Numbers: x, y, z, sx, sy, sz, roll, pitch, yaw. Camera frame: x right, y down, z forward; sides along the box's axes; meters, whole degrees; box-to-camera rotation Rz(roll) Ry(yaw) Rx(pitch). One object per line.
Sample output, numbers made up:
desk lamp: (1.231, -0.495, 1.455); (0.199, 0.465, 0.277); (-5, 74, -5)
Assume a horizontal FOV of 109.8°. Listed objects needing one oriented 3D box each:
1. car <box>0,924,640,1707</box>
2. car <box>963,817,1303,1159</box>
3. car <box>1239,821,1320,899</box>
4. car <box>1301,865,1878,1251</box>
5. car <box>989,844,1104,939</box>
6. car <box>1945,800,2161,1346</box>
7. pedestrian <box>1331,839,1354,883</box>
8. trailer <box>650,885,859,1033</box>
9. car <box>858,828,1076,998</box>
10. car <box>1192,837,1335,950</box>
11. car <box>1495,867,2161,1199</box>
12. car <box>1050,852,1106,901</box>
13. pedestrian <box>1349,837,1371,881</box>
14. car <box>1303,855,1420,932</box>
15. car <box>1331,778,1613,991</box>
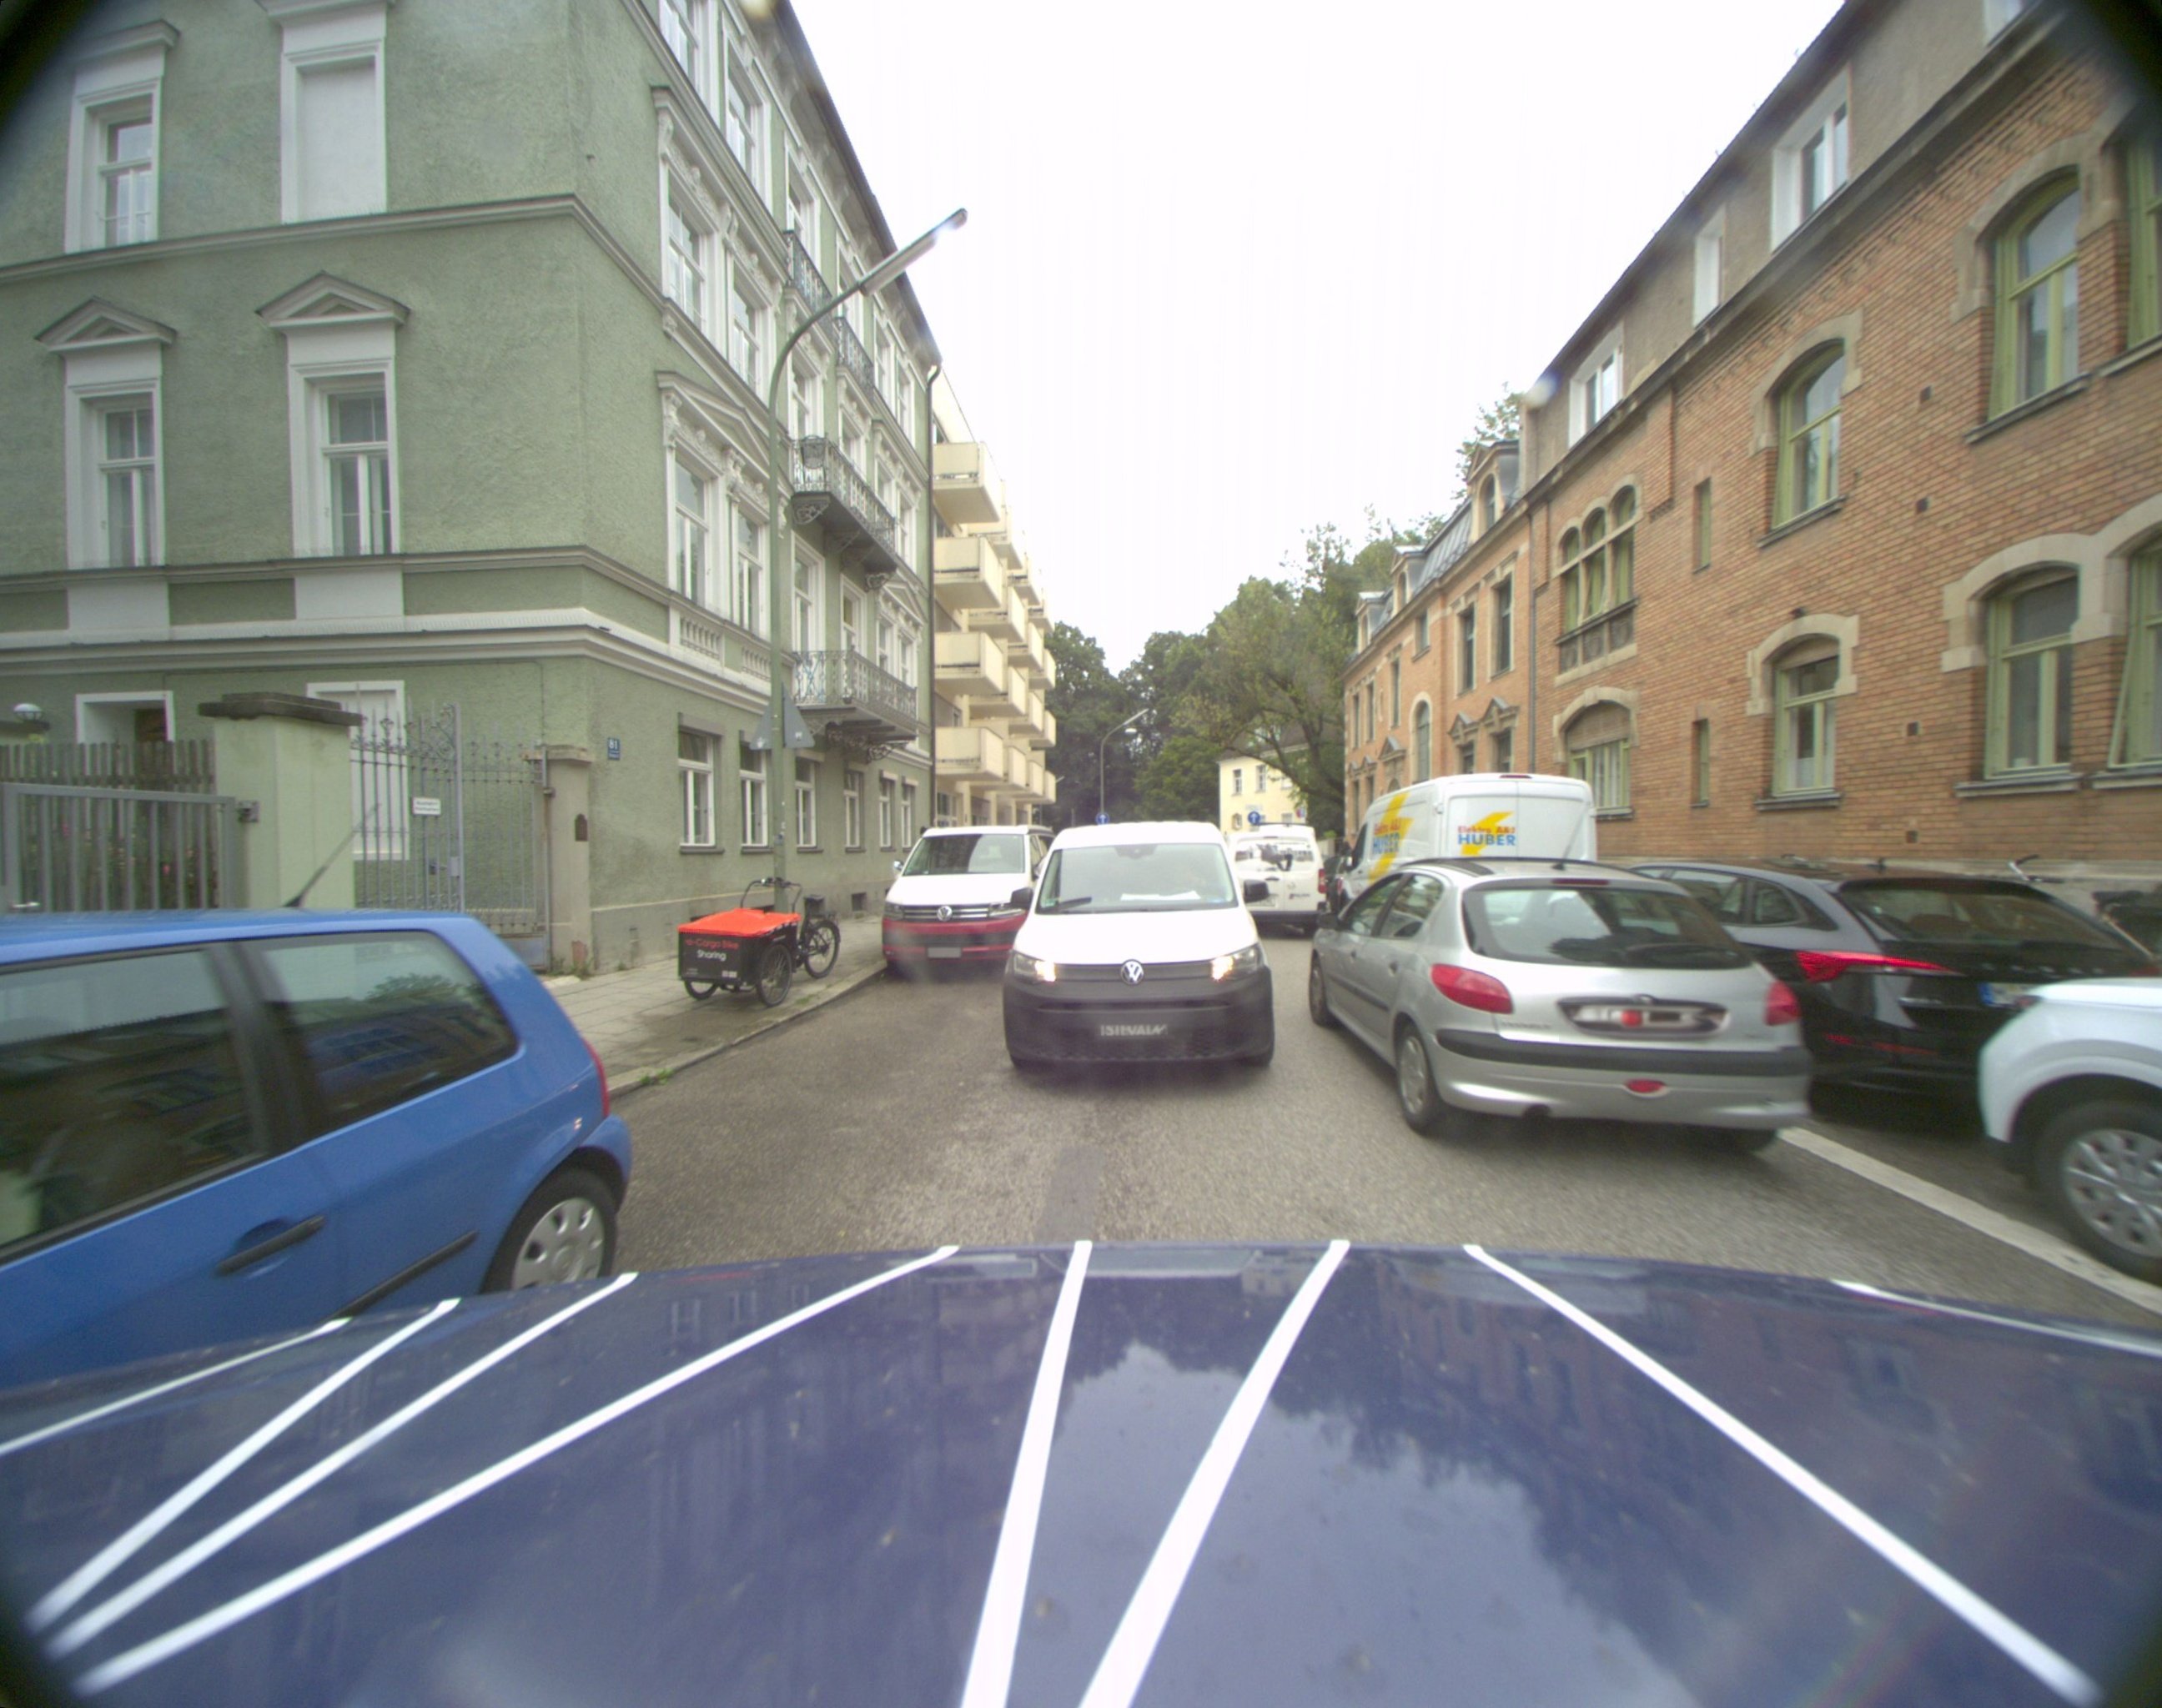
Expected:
car: (-2.524, 1.019, 0.951); (1.622, 1.404, 3.554); (-3, 1, 4)
car: (0.488, 0.670, 5.995); (1.775, 1.761, 4.002); (1, 1, 7)
car: (7.073, 0.181, 27.558); (2.117, 2.525, 4.423); (2, 0, 6)
car: (2.541, 0.838, 4.880); (1.584, 1.403, 3.613); (0, 1, 6)
car: (-0.595, 0.725, 16.839); (1.831, 1.747, 4.555); (-2, 0, 6)
car: (4.296, 0.747, 1.018); (1.693, 1.793, 4.146); (1, 1, 5)
pedestrian: (9.789, 0.253, 28.479); (0.633, 1.623, 0.675); (1, 1, 6)
trailer: (-3.313, 1.003, 8.025); (0.943, 1.177, 2.166); (3, 1, 11)
car: (-1.338, 0.676, 11.002); (1.857, 1.885, 4.594); (-3, 0, 7)
car: (3.264, 0.611, 14.499); (1.775, 1.793, 4.572); (1, 1, 2)
car: (4.912, 0.882, 5.668); (1.693, 1.434, 4.146); (1, 1, 6)
car: (-0.034, 0.741, 27.218); (1.550, 1.562, 3.979); (-2, 0, 6)
pedestrian: (10.463, 0.175, 28.489); (0.633, 1.623, 0.467); (1, 1, 6)
car: (5.981, 0.780, 16.587); (1.526, 1.434, 3.542); (1, 1, 6)
car: (5.441, 0.318, 11.549); (1.985, 2.464, 5.224); (1, 1, 6)
